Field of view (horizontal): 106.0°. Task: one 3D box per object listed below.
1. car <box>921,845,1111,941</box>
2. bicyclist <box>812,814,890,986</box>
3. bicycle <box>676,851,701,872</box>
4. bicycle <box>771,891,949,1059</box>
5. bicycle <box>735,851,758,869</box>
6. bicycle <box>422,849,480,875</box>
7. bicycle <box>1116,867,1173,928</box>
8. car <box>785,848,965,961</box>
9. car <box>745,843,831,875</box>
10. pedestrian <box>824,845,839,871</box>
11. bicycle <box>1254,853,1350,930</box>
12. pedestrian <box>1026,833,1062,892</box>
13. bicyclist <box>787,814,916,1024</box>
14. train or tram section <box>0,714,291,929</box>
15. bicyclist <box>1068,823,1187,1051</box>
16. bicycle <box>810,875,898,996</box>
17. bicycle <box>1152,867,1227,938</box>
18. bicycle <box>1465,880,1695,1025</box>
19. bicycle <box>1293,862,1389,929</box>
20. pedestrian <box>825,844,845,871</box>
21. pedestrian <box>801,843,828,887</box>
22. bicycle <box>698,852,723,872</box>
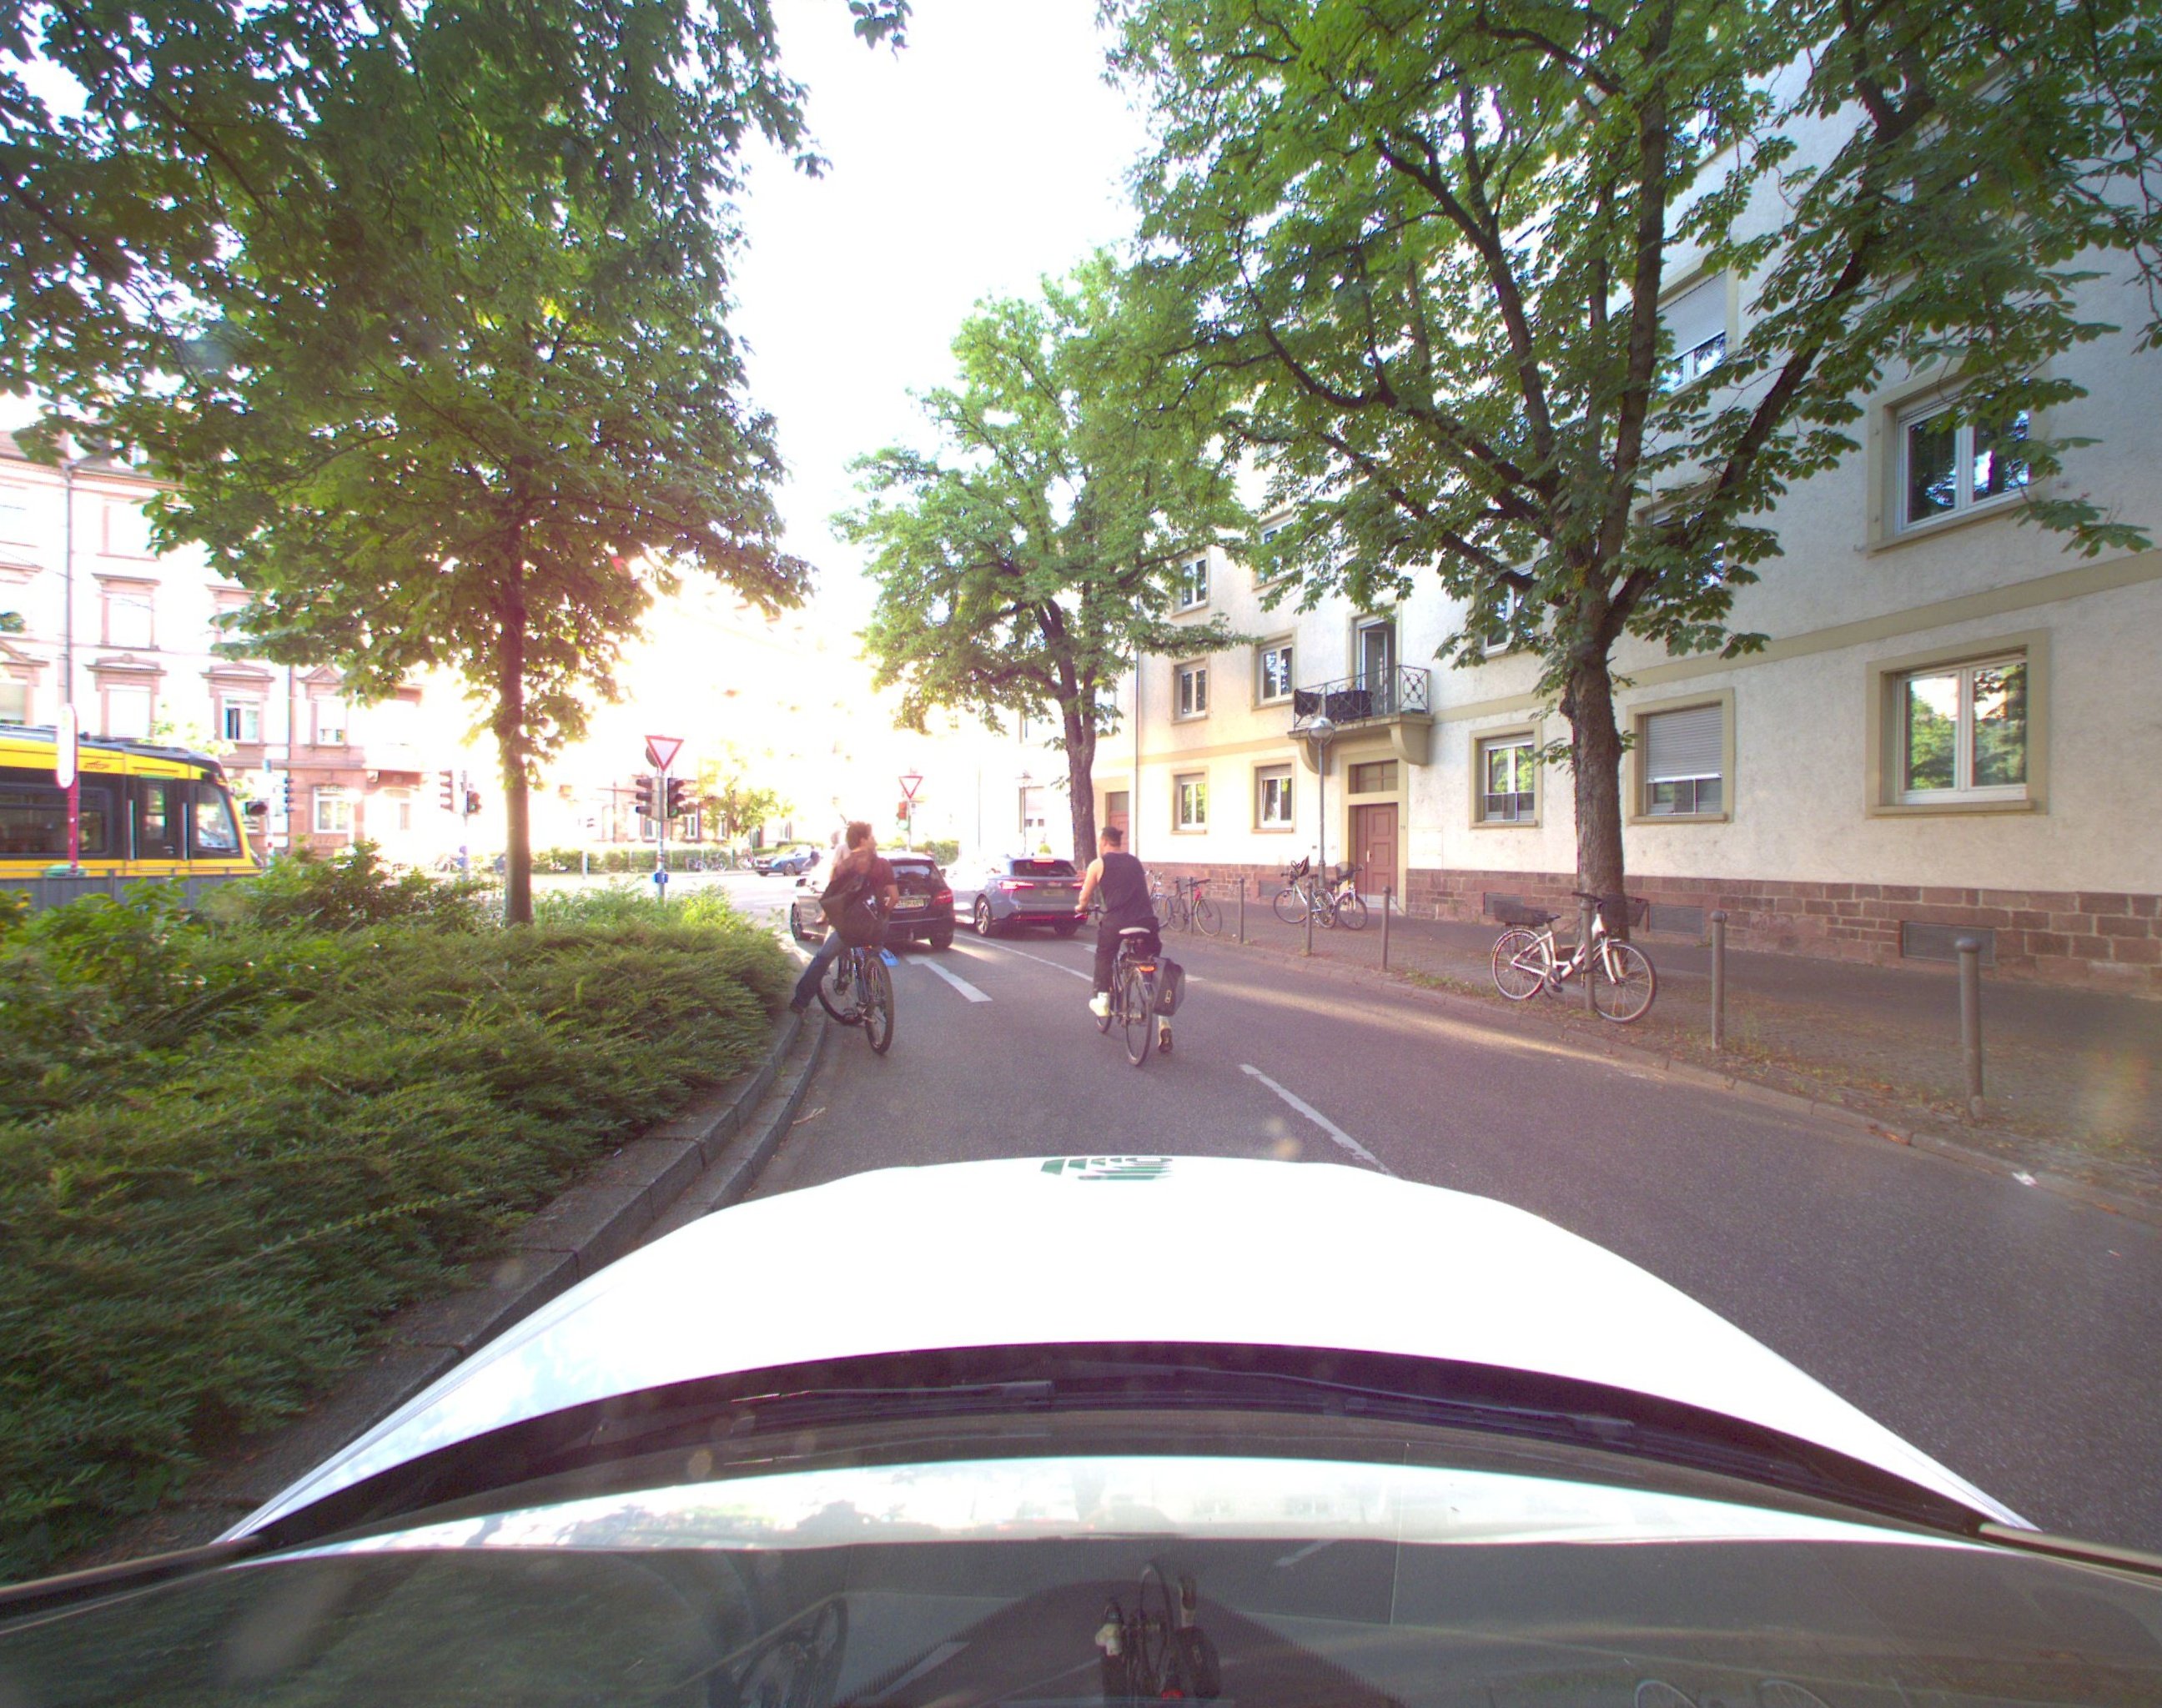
[{"bbox_3d":[-1.446,0.660,15.962,1.982,1.585,4.432,2,-1,-30],"label":"car"},{"bbox_3d":[-2.734,0.514,9.641,0.797,1.913,0.938,1,0,-21],"label":"bicyclist"},{"bbox_3d":[-21.425,0.393,44.448,0.438,1.107,1.241,1,1,25],"label":"bicycle"},{"bbox_3d":[-1.914,0.915,6.844,0.723,1.107,1.944,1,0,-39],"label":"bicycle"},{"bbox_3d":[-19.766,0.345,48.147,0.438,1.038,1.240,1,1,24],"label":"bicycle"},{"bbox_3d":[-28.126,0.374,36.388,1.975,1.107,0.438,2,-1,-38],"label":"bicycle"},{"bbox_3d":[1.232,0.824,16.103,0.482,1.063,1.625,-2,2,-20],"label":"bicycle"},{"bbox_3d":[-3.542,0.700,13.496,1.802,1.542,3.821,-2,1,-32],"label":"car"},{"bbox_3d":[-15.620,0.243,43.682,1.926,1.650,4.432,0,0,19],"label":"car"},{"bbox_3d":[-16.375,0.254,53.503,0.655,1.715,0.640,0,0,32],"label":"pedestrian"},{"bbox_3d":[4.003,0.638,14.921,0.719,1.277,1.954,-1,1,-18],"label":"bicycle"},{"bbox_3d":[-1.117,0.256,24.675,0.648,1.727,0.878,-3,2,-39],"label":"pedestrian"},{"bbox_3d":[-1.899,0.485,6.696,0.712,1.573,0.946,1,0,-38],"label":"bicyclist"},{"bbox_3d":[-20.186,-0.561,12.280,2.769,3.619,11.857,1,0,19],"label":"train or tram section"},{"bbox_3d":[0.341,0.600,6.485,0.687,1.656,0.985,-1,0,-13],"label":"bicyclist"},{"bbox_3d":[-2.737,0.880,9.646,0.813,1.184,2.211,0,0,-21],"label":"bicycle"},{"bbox_3d":[1.899,0.825,14.511,0.528,1.107,1.728,-3,2,-21],"label":"bicycle"},{"bbox_3d":[4.548,0.829,7.619,0.514,1.095,1.962,-2,1,-18],"label":"bicycle"},{"bbox_3d":[4.715,0.716,14.920,0.669,1.107,1.955,1,0,-17],"label":"bicycle"},{"bbox_3d":[-15.922,0.224,52.692,0.703,1.664,0.904,4,2,36],"label":"pedestrian"},{"bbox_3d":[-10.430,0.428,31.905,0.903,1.635,0.722,2,1,-13],"label":"pedestrian"},{"bbox_3d":[-20.798,0.425,45.737,0.438,1.107,1.241,1,1,25],"label":"bicycle"}]
